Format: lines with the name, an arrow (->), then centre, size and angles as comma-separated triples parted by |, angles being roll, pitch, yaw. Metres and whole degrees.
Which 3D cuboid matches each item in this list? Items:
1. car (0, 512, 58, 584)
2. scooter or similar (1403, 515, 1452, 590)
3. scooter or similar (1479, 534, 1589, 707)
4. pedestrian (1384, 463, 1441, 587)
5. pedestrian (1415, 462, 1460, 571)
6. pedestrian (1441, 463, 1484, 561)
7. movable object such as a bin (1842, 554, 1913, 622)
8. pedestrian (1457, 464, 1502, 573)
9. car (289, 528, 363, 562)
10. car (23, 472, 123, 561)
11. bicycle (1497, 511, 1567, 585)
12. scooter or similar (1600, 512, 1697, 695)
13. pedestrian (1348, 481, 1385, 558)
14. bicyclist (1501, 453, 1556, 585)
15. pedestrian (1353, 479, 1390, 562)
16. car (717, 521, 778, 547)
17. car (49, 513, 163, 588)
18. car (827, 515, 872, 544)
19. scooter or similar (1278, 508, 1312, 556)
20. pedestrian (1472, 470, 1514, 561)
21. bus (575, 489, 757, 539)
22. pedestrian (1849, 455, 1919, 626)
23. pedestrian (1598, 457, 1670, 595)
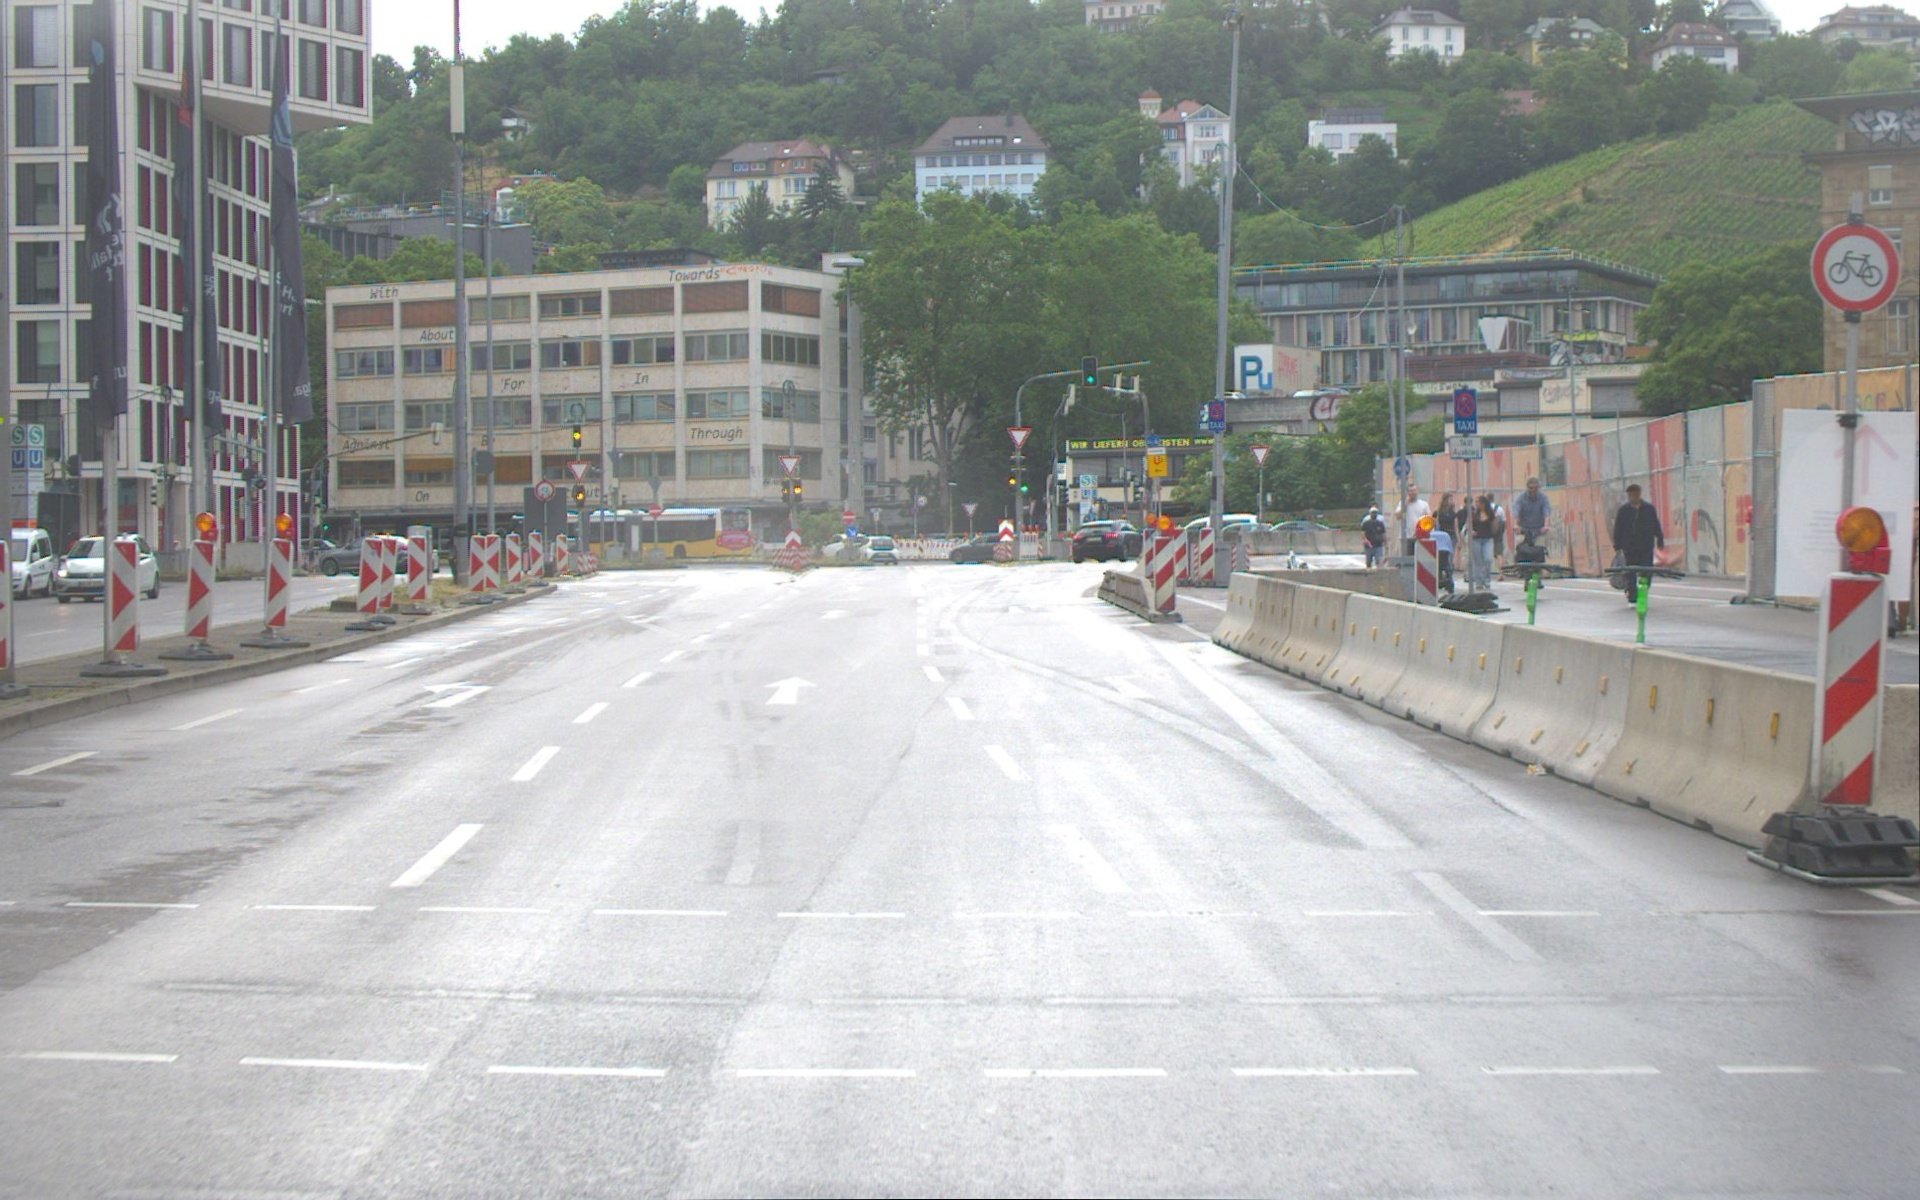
car -> -24.008, -1.316, 86.416 | 1.774, 1.756, 4.372 | -1, 1, -4
scooter or similar -> 7.544, -0.776, 55.532 | 0.665, 1.194, 1.044 | -1, 2, 2
scooter or similar -> 4.550, 0.150, 27.277 | 0.524, 1.329, 1.025 | -1, 1, -11
pedestrian -> 7.450, -1.238, 56.642 | 0.803, 2.009, 0.972 | -1, 1, 2
pedestrian -> 8.316, -1.452, 59.831 | 0.683, 1.882, 0.693 | -1, 1, 2
pedestrian -> 9.726, -1.700, 66.533 | 0.683, 1.882, 0.693 | -1, 1, -2
movable object such as a bin -> 10.192, -0.138, 38.192 | 0.597, 0.732, 0.778 | -1, 1, 2
pedestrian -> 9.038, -1.419, 59.808 | 0.683, 1.882, 0.693 | -1, 1, 2
car -> -34.537, -3.008, 187.321 | 3.996, 1.809, 1.802 | 1, 2, 40
car -> -23.861, -2.259, 92.589 | 1.774, 2.319, 4.372 | -1, 1, -4
bicycle -> 8.749, -0.808, 52.605 | 0.766, 1.108, 1.981 | -1, 1, 1
scooter or similar -> 5.145, 0.012, 25.665 | 0.492, 1.329, 1.024 | 0, 1, 24
pedestrian -> 9.303, -1.843, 78.664 | 0.683, 1.734, 0.907 | -1, 1, -1
bicyclist -> 8.715, -1.237, 52.735 | 0.726, 2.007, 0.599 | -1, 1, 1
pedestrian -> 8.749, -1.692, 73.129 | 0.642, 1.734, 0.838 | -1, 1, -1
car -> -12.360, -3.829, 199.550 | 1.730, 1.486, 4.078 | -2, 2, -33
car -> -19.866, -1.172, 80.144 | 1.823, 1.663, 4.501 | -1, 1, -4
car -> -5.974, -3.807, 185.566 | 1.729, 1.486, 4.079 | -1, 2, -11
scooter or similar -> 8.213, -1.672, 84.239 | 0.467, 1.179, 1.415 | -1, 2, -9
pedestrian -> 10.915, -1.733, 70.418 | 0.703, 1.859, 0.990 | -1, 2, 1
bus -> -17.285, -4.993, 200.755 | 3.202, 2.741, 13.972 | -2, 2, -39
pedestrian -> 10.420, -0.667, 38.482 | 0.767, 1.888, 0.654 | -1, 1, 1
pedestrian -> 9.321, -1.023, 47.545 | 0.848, 1.888, 0.662 | -1, 1, 1
